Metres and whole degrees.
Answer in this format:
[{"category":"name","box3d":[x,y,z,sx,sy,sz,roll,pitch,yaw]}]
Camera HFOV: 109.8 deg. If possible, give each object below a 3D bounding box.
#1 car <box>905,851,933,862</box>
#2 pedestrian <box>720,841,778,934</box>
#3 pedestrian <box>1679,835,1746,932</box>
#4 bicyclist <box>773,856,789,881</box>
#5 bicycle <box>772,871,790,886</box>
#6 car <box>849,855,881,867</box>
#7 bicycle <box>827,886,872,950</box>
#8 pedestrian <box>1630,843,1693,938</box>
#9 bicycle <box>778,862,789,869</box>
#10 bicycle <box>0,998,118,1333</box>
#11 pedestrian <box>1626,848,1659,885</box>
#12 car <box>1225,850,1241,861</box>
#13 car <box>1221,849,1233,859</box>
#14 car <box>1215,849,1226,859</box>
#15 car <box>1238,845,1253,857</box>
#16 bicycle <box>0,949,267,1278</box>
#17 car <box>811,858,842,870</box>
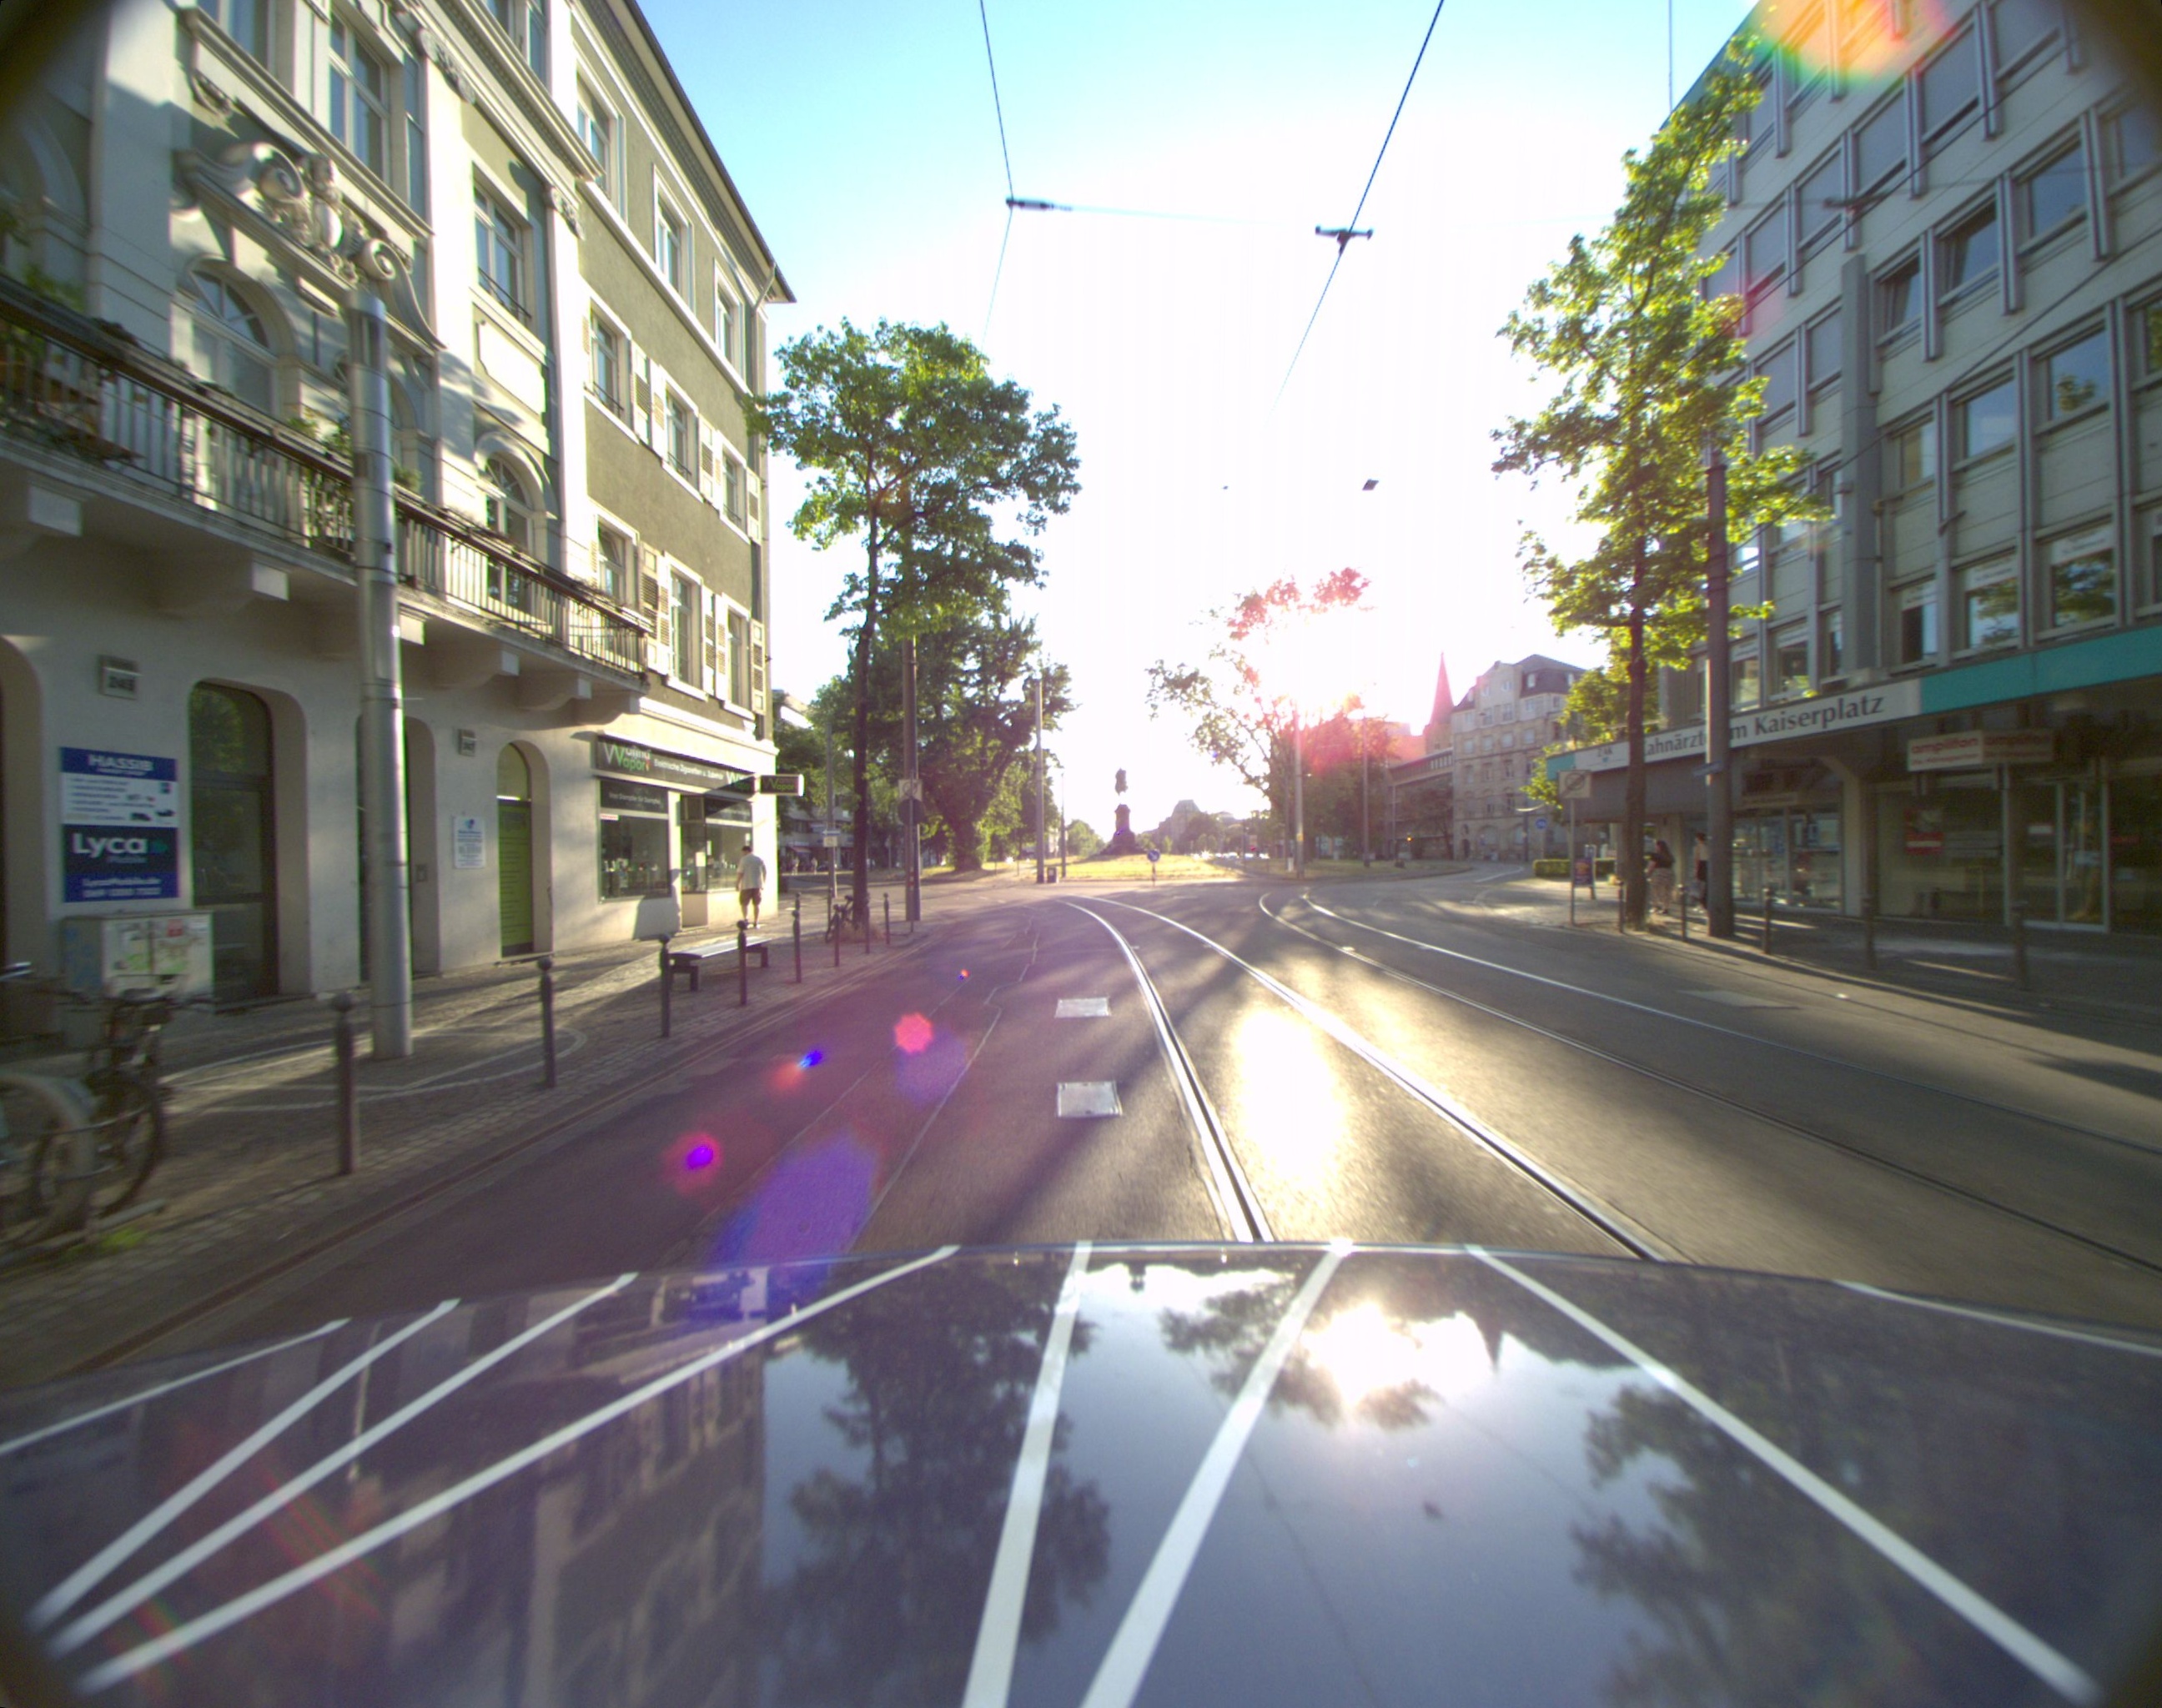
[{"category":"car","box3d":[-26.648,0.424,124.999,1.995,1.596,4.531,-2,1,28]},{"category":"pedestrian","box3d":[-7.451,0.730,17.054,0.844,2.002,0.845,-1,2,42]},{"category":"pedestrian","box3d":[13.468,0.602,16.231,0.798,2.002,0.734,-2,2,2]},{"category":"bicyclist","box3d":[-24.296,1.185,61.605,0.926,1.962,1.111,-3,1,-32]},{"category":"bicycle","box3d":[-24.385,1.978,61.815,0.937,1.070,2.216,-3,1,-32]},{"category":"car","box3d":[-32.208,1.046,113.554,1.995,1.596,4.531,-2,1,28]},{"category":"bicycle","box3d":[-4.516,1.224,14.899,0.355,1.070,1.698,-2,1,-2]},{"category":"pedestrian","box3d":[12.651,0.785,16.570,0.798,2.002,0.734,-2,2,2]},{"category":"bicycle","box3d":[-40.672,1.586,103.860,1.448,0.987,0.530,0,2,-26]},{"category":"bicycle","box3d":[-4.837,1.181,2.916,1.870,1.148,0.348,-2,1,3]},{"category":"pedestrian","box3d":[26.456,0.576,35.818,0.905,1.693,1.164,-1,1,18]},{"category":"car","box3d":[29.376,0.259,146.791,1.999,2.002,4.547,-3,1,-1]},{"category":"car","box3d":[30.016,-0.021,156.612,1.998,2.002,4.001,-1,1,4]},{"category":"car","box3d":[30.817,-0.054,168.134,1.998,2.002,4.000,-1,1,3]},{"category":"car","box3d":[29.243,-0.567,135.190,1.998,2.002,4.000,-1,1,2]},{"category":"bicycle","box3d":[-4.713,1.153,3.882,0.462,1.148,1.677,-3,1,-38]},{"category":"car","box3d":[-35.642,1.340,106.385,1.790,1.434,4.006,-2,1,27]}]
